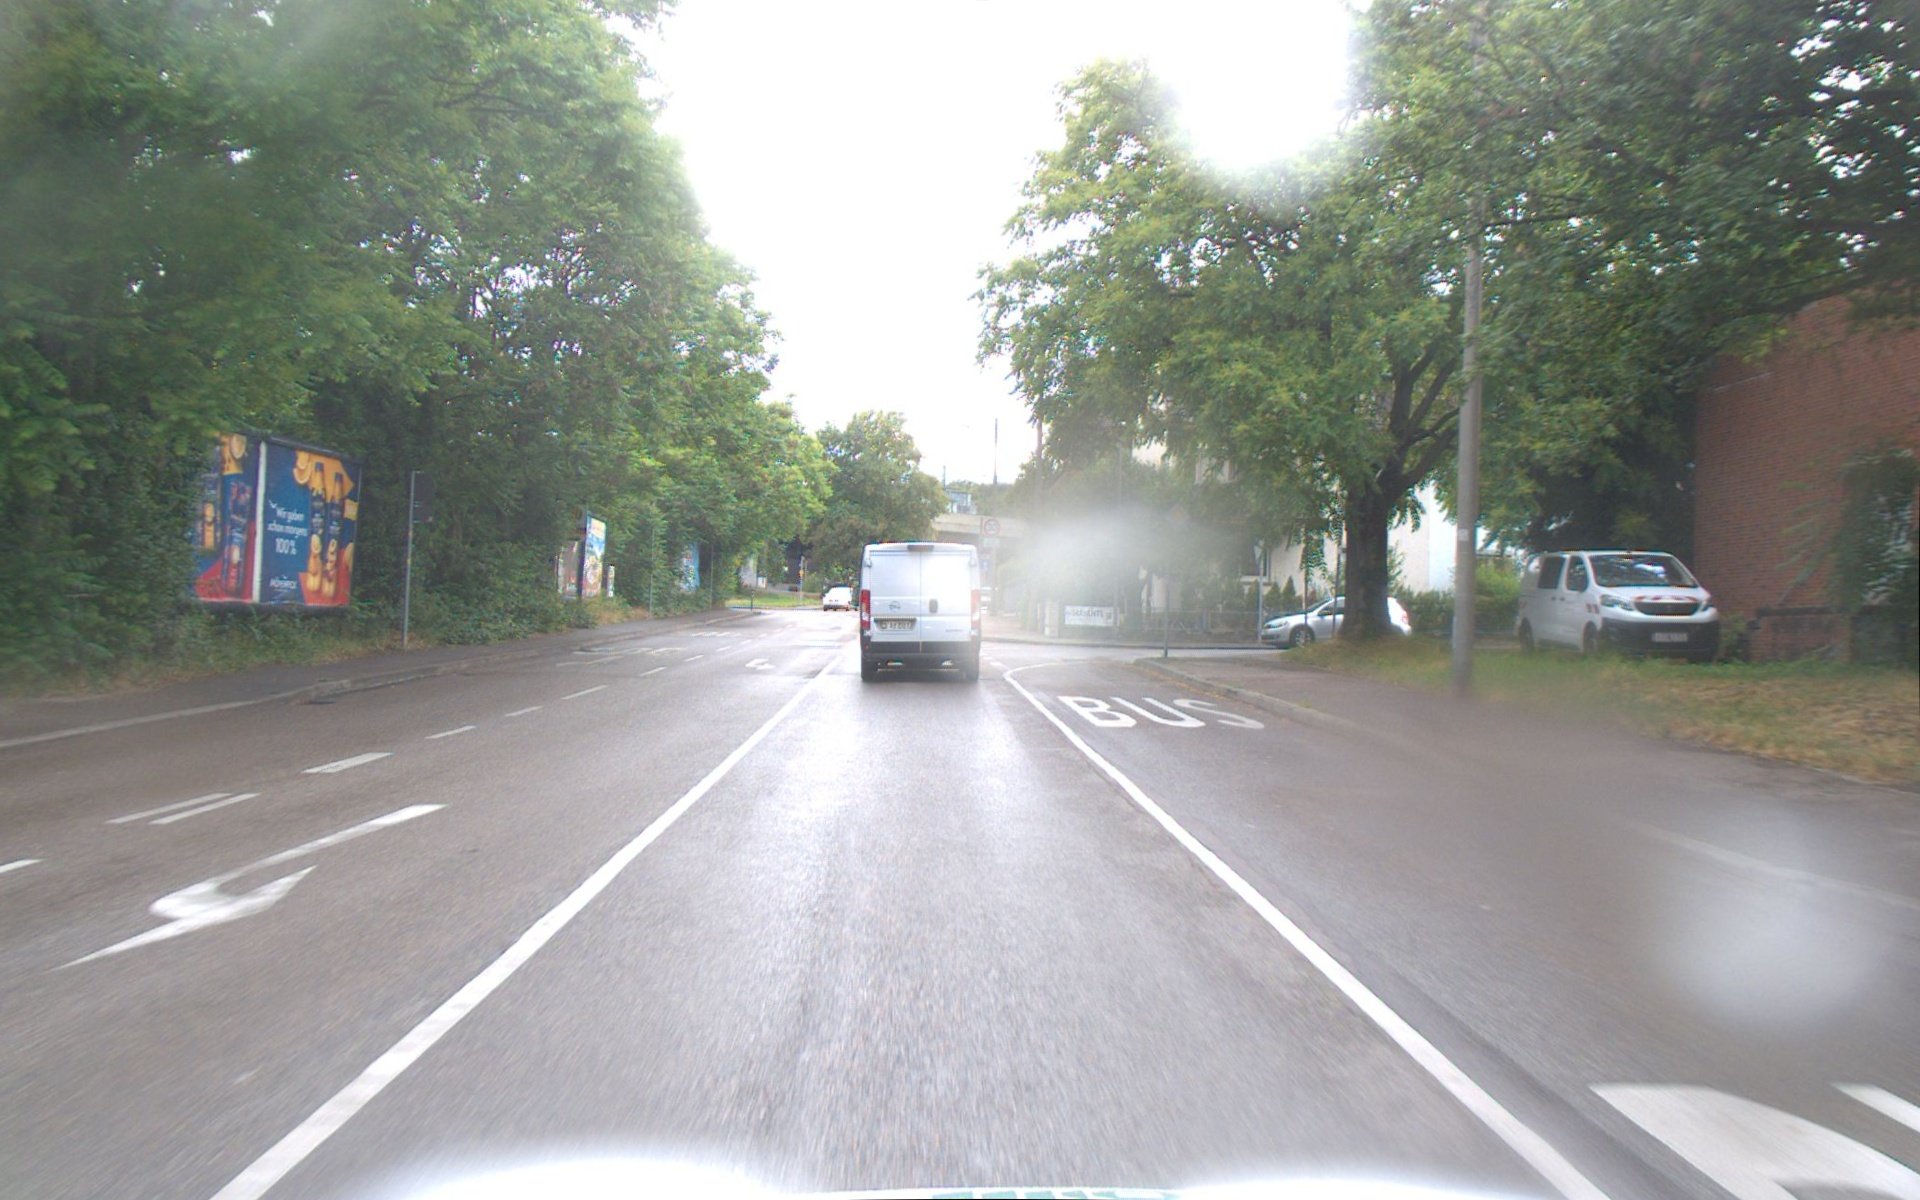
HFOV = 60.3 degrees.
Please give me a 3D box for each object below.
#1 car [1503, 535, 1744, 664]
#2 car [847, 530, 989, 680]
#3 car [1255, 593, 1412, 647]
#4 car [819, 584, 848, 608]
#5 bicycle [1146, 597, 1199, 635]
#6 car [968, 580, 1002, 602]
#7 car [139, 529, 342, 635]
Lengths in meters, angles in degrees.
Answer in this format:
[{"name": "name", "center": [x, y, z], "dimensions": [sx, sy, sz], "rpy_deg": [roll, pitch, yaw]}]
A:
[{"name": "car", "center": [10.882, -0.021, 27.592], "dimensions": [1.953, 1.836, 5.148], "rpy_deg": [3, 0, 1]}, {"name": "car", "center": [-0.839, 0.105, 29.055], "dimensions": [2.104, 2.323, 5.057], "rpy_deg": [2, -1, -5]}, {"name": "car", "center": [10.323, 0.562, 45.862], "dimensions": [3.909, 1.448, 1.702], "rpy_deg": [0, -1, -5]}, {"name": "car", "center": [-7.897, -0.276, 103.397], "dimensions": [1.621, 1.441, 3.934], "rpy_deg": [0, 1, -2]}, {"name": "bicycle", "center": [6.376, 0.482, 49.571], "dimensions": [1.538, 1.134, 0.457], "rpy_deg": [0, 0, 2]}, {"name": "car", "center": [1.820, -0.632, 118.961], "dimensions": [1.728, 1.537, 3.758], "rpy_deg": [3, 1, 12]}, {"name": "car", "center": [-15.095, -0.377, 34.659], "dimensions": [3.916, 1.971, 1.995], "rpy_deg": [4, 1, 32]}]
